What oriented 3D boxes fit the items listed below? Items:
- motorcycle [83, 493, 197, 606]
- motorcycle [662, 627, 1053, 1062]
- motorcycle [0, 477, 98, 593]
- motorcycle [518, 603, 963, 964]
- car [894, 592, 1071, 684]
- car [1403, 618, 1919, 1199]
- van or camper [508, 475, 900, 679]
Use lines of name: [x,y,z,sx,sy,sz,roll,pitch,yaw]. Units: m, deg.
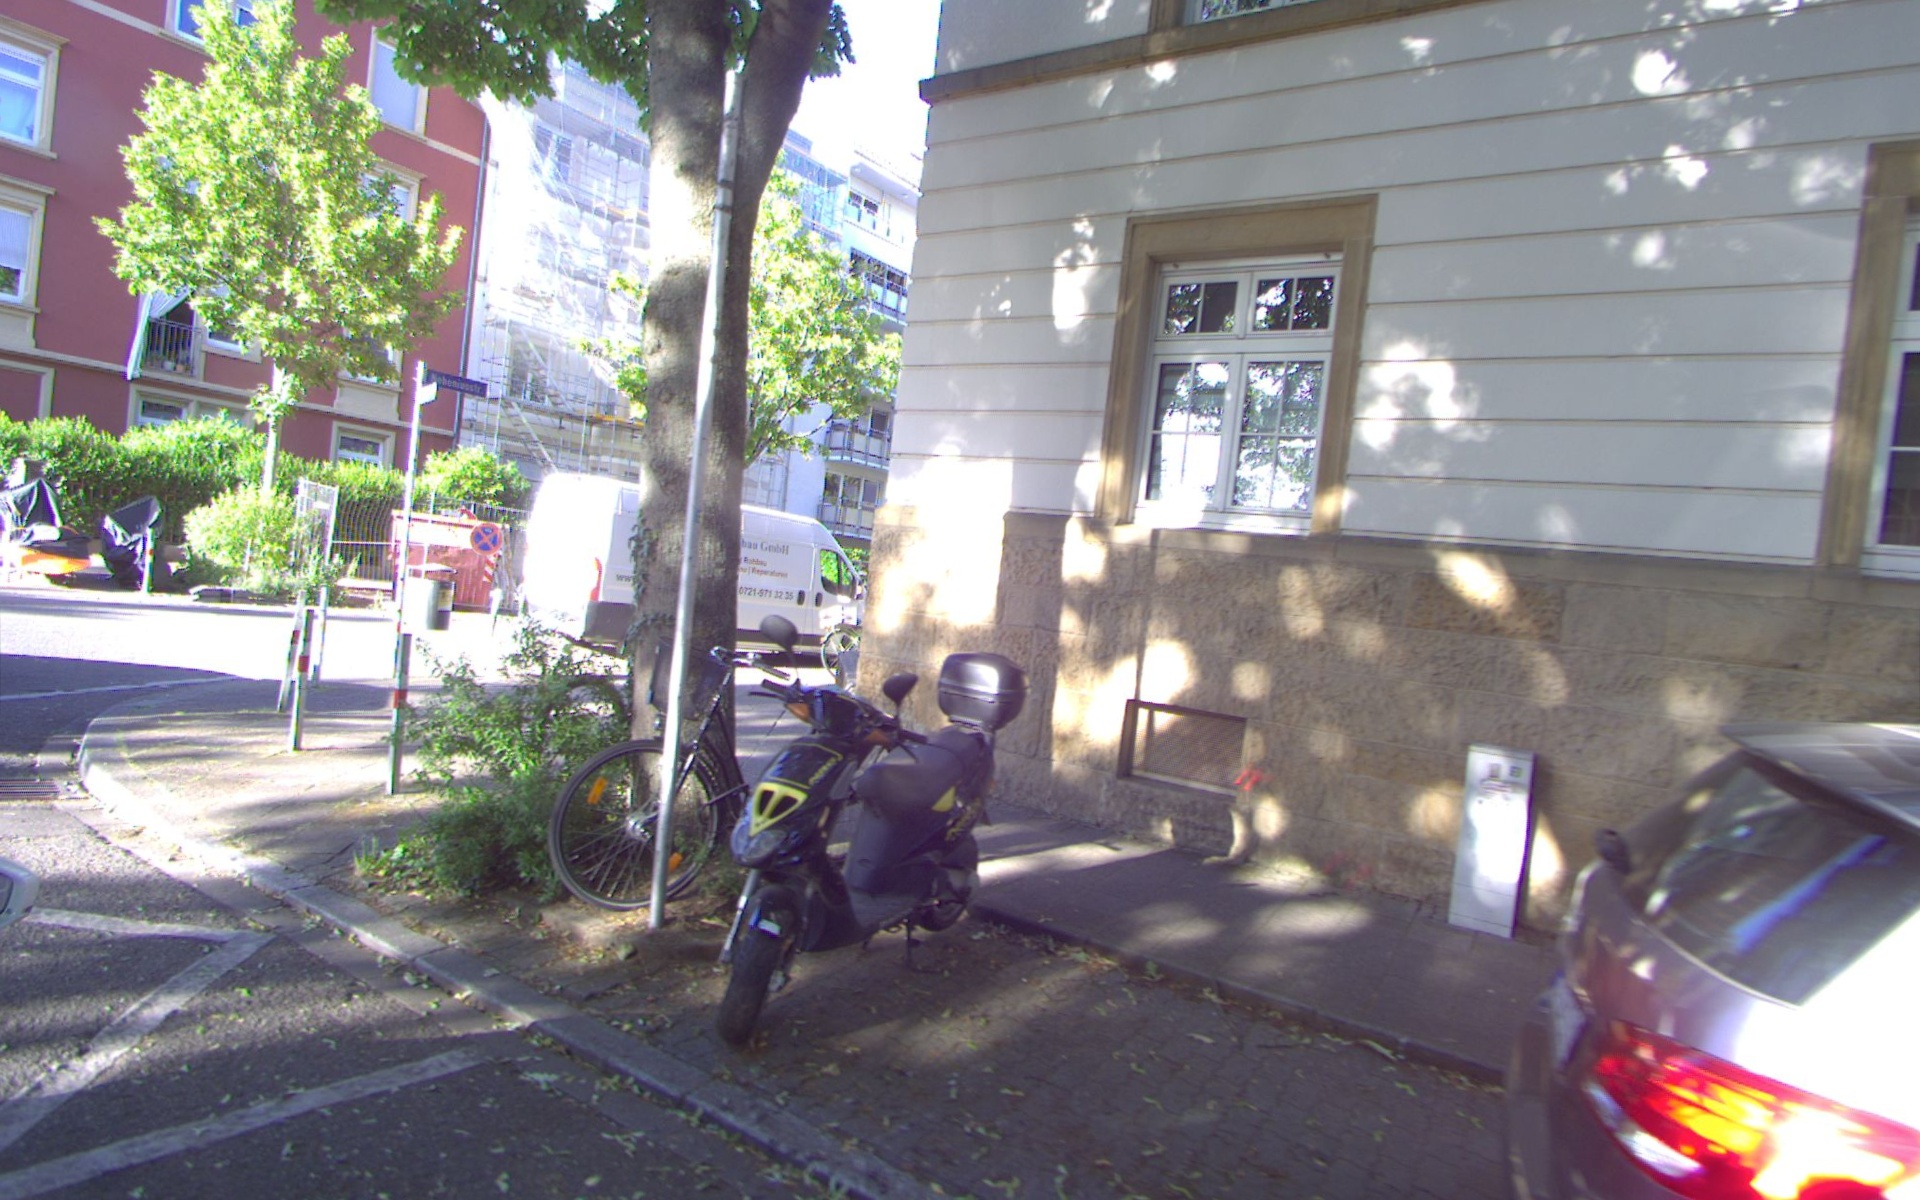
motorcycle: [-12.643,-0.807,15.478,2.518,1.423,0.825,10,3,40]
motorcycle: [-0.308,0.793,3.891,0.609,1.283,1.504,8,2,31]
motorcycle: [-13.685,-0.992,14.972,2.162,1.422,1.017,10,3,44]
motorcycle: [-0.881,0.736,4.478,1.844,1.283,0.498,5,2,-44]
car: [0.524,0.822,20.558,1.538,1.495,3.536,9,2,42]
car: [2.995,1.088,1.276,4.334,1.570,1.792,7,0,29]
van or camper: [-3.775,-0.211,15.894,2.114,2.476,5.579,10,2,41]
